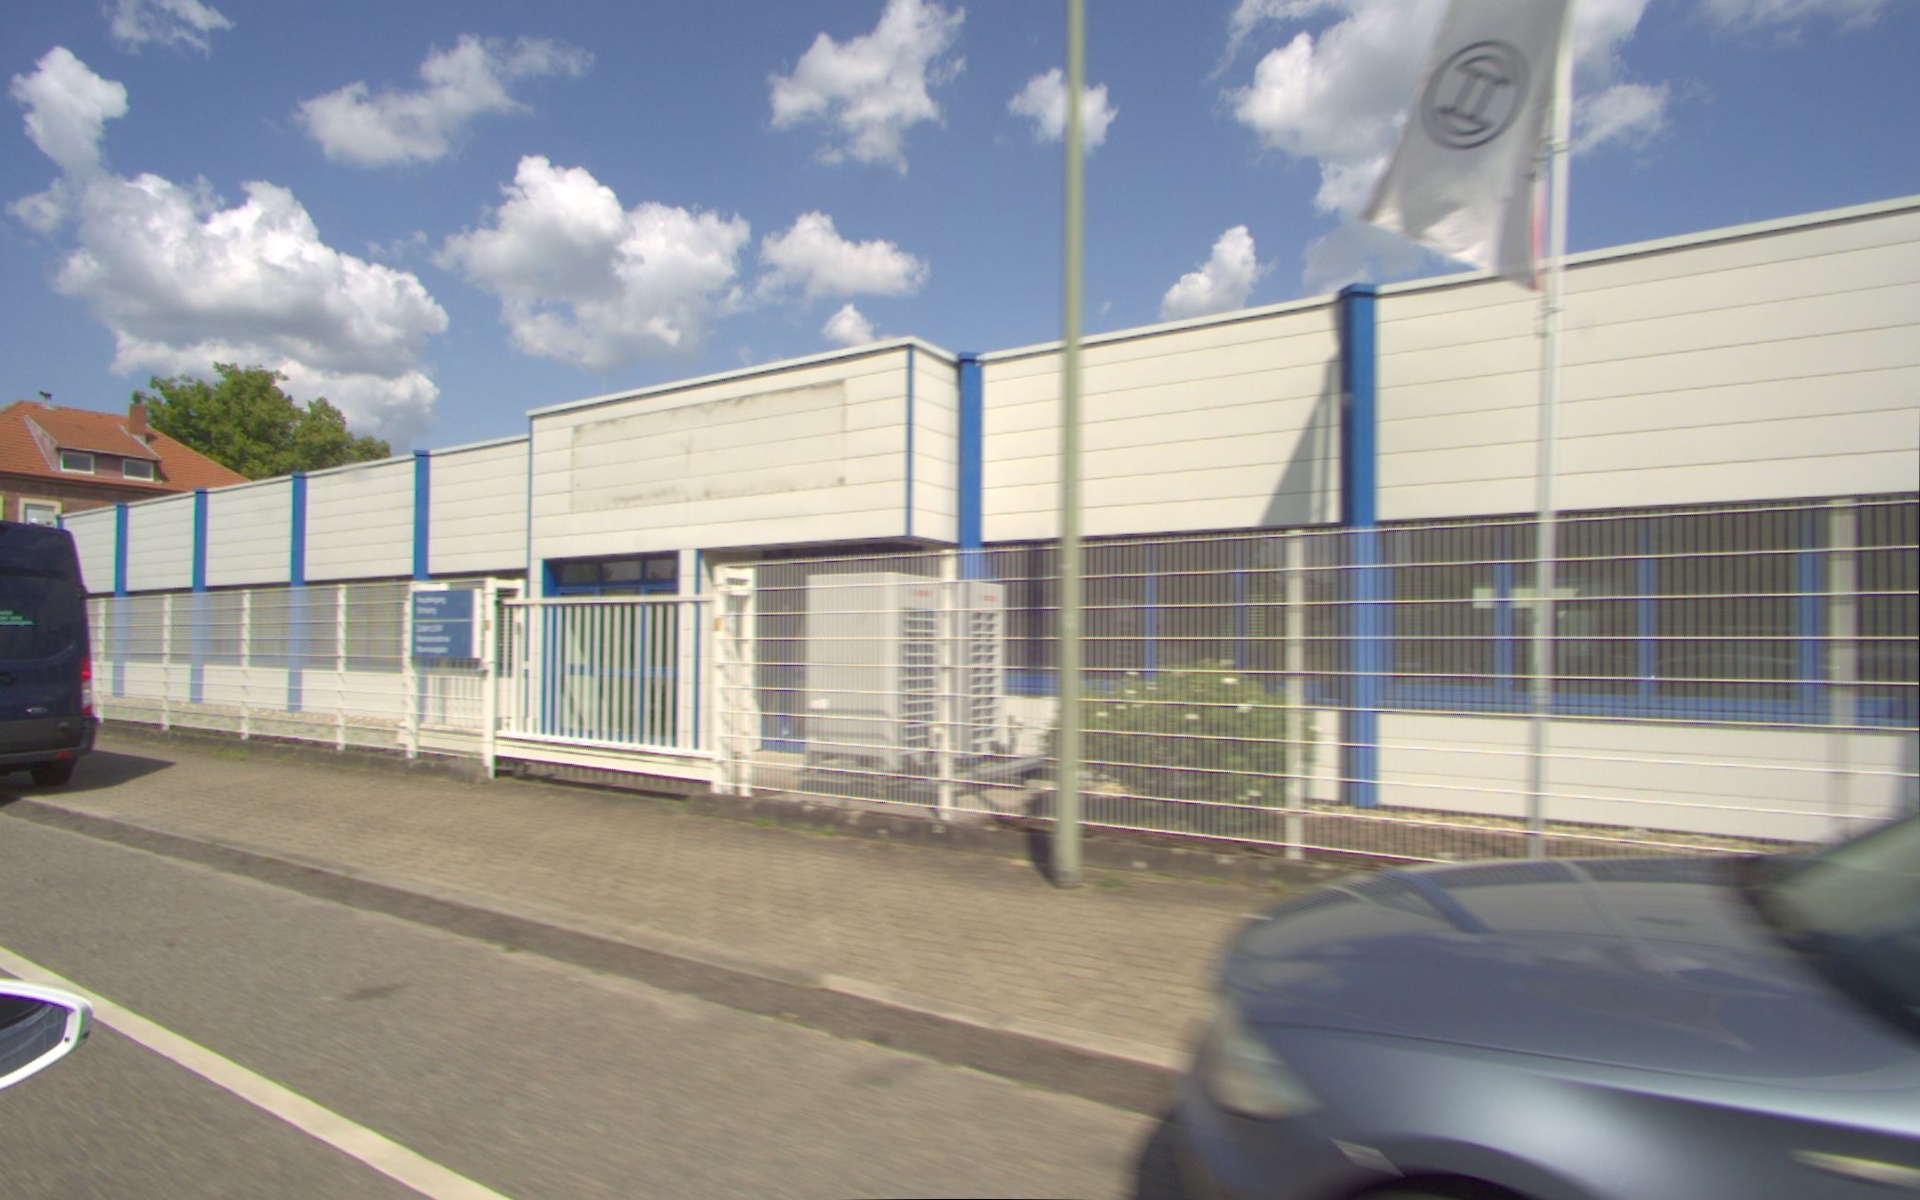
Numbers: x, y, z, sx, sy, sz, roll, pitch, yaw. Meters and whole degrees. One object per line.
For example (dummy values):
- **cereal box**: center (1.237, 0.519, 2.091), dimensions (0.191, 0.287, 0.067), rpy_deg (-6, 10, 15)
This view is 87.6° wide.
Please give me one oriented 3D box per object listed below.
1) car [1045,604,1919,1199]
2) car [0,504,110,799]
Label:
- **car**: center (2.312, 0.814, 1.641), dimensions (4.073, 1.527, 1.570), rpy_deg (0, -1, 32)
- **car**: center (-11.698, 0.535, 10.957), dimensions (6.067, 2.783, 1.934), rpy_deg (-1, -2, 32)
